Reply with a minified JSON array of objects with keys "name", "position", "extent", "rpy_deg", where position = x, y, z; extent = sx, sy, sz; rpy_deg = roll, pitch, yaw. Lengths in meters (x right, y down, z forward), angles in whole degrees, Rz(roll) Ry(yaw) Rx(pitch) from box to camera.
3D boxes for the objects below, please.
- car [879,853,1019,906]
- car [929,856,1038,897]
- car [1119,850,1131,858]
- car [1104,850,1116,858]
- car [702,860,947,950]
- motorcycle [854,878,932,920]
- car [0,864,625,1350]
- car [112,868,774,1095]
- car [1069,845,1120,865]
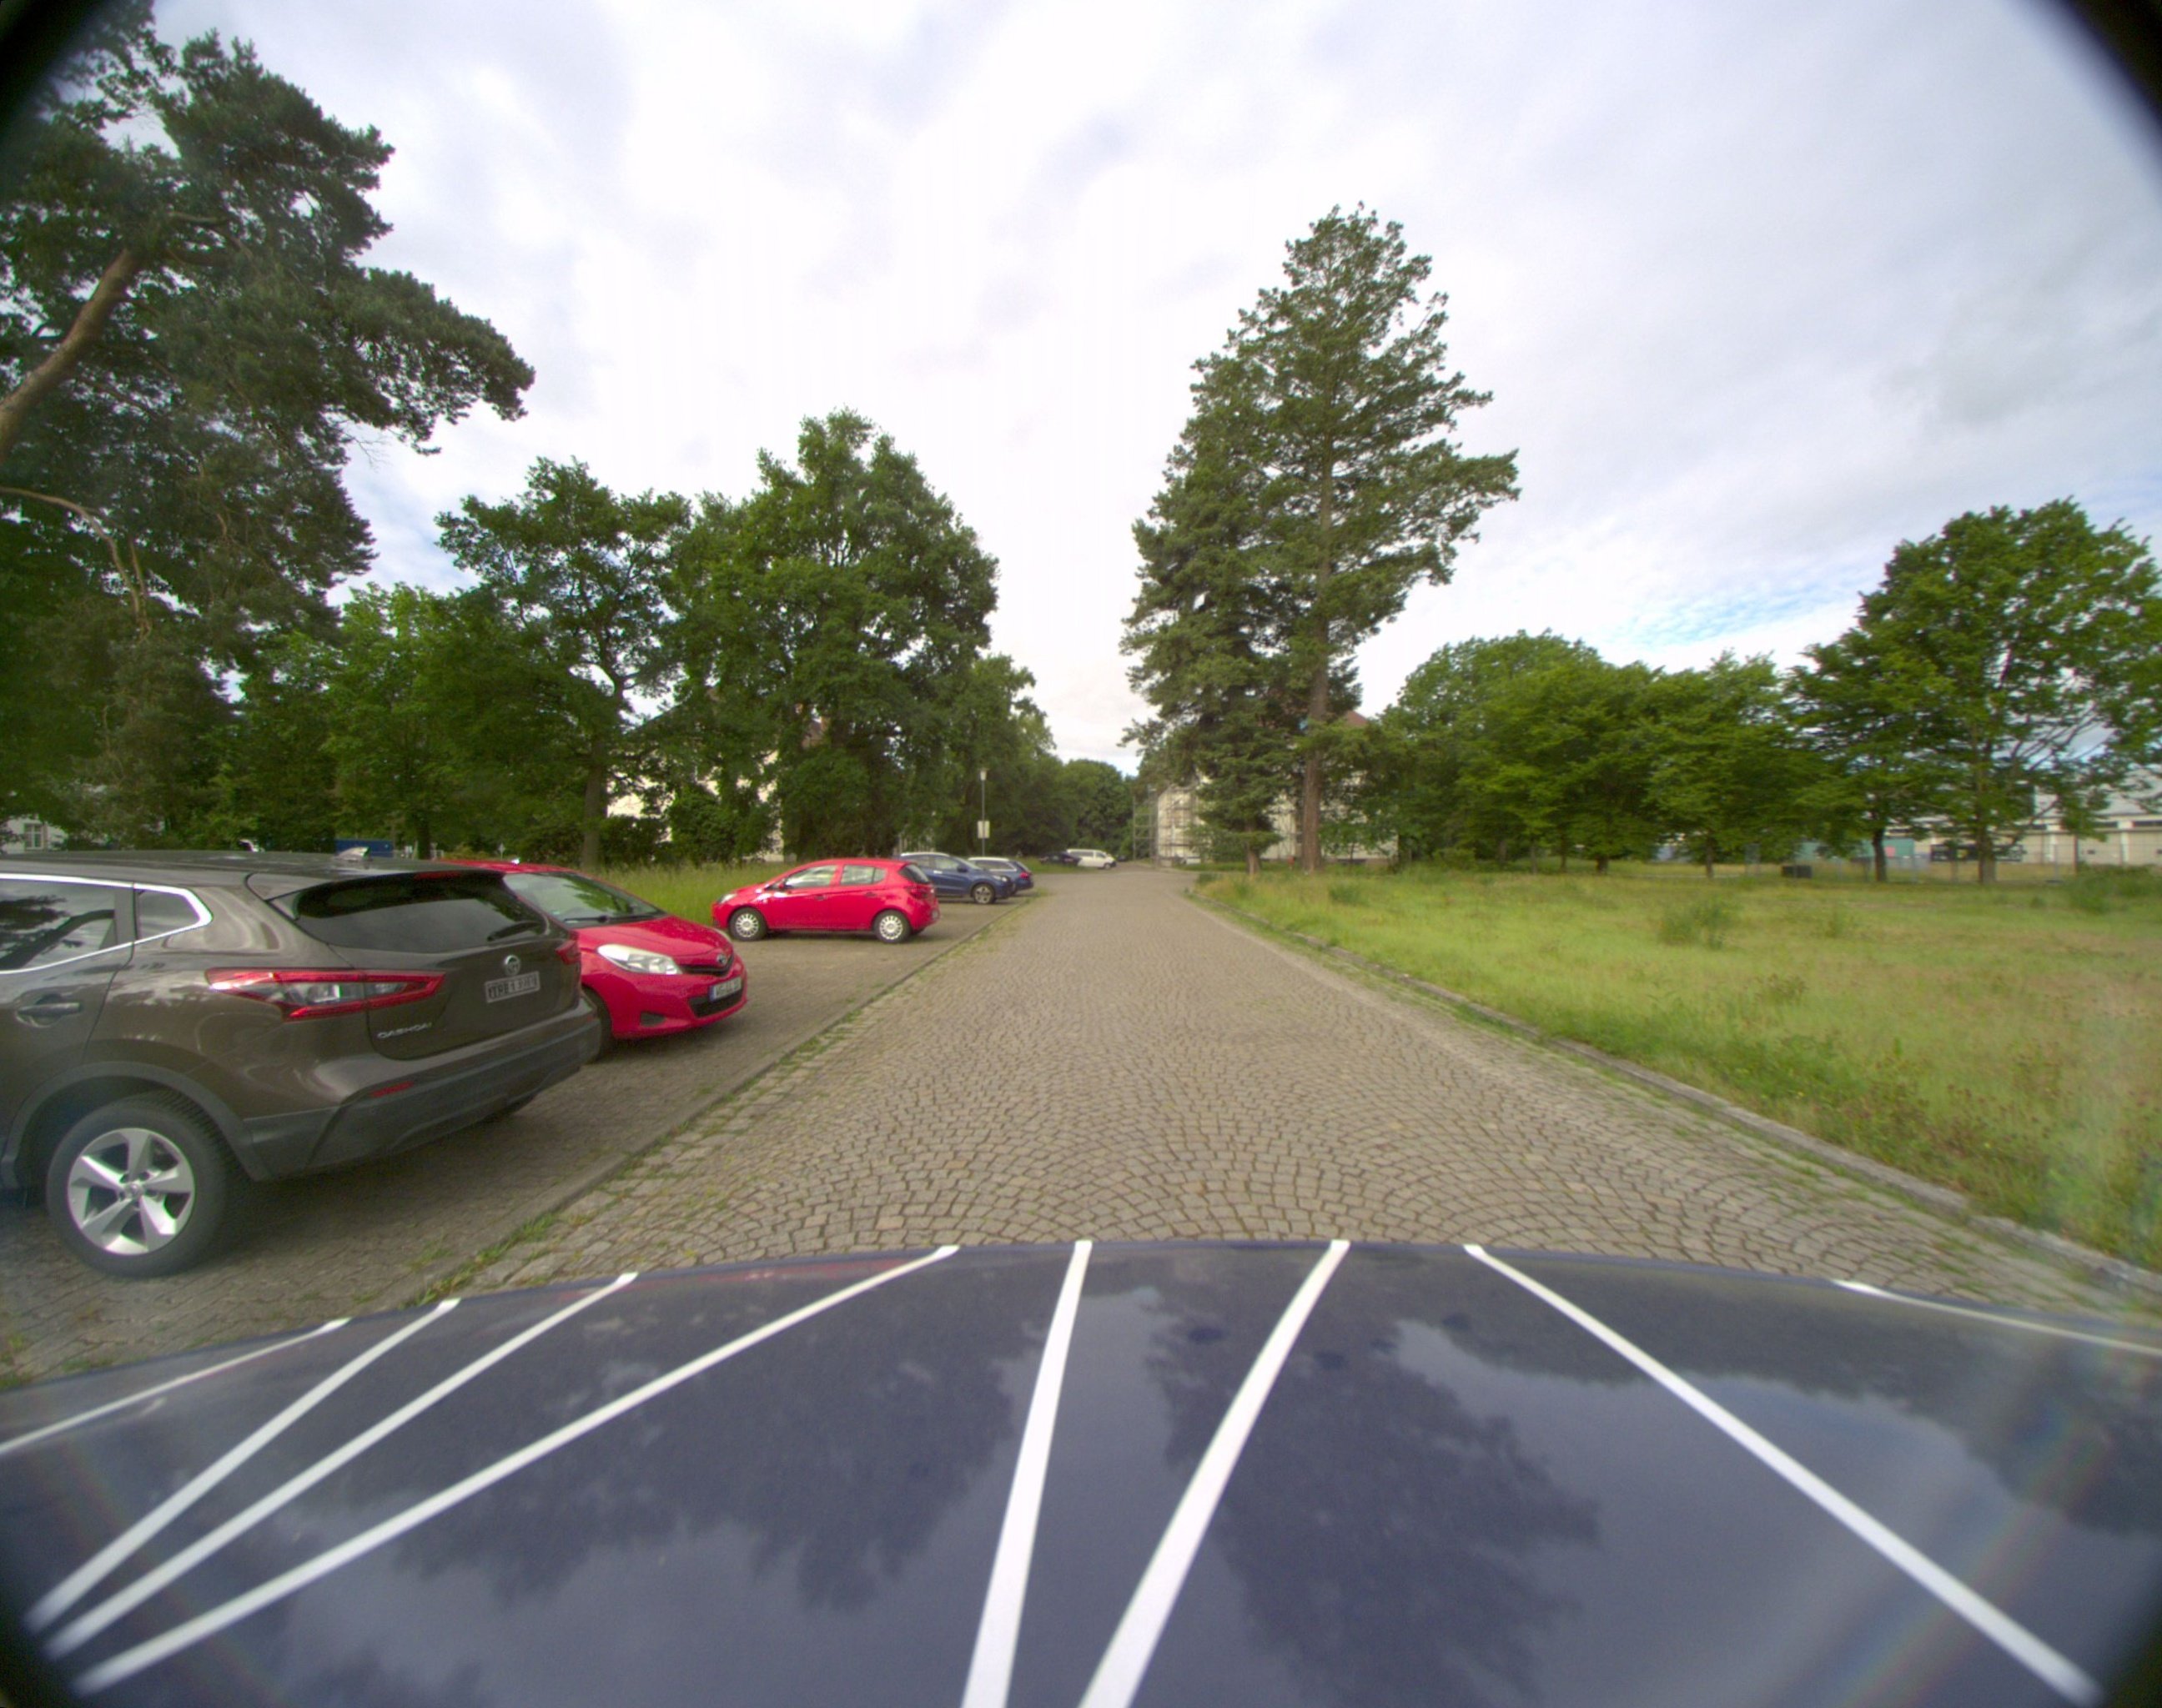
[{"name":"car","position":[-4.107,0.790,24.056],"extent":[4.150,1.529,1.582],"rpy_deg":[1,1,0]},{"name":"car","position":[-3.630,0.838,28.706],"extent":[3.877,1.417,1.582],"rpy_deg":[1,1,0]},{"name":"car","position":[8.343,-0.086,144.206],"extent":[1.870,1.408,4.694],"rpy_deg":[1,0,-3]},{"name":"car","position":[5.442,-0.031,143.735],"extent":[1.870,1.408,4.694],"rpy_deg":[1,0,-3]},{"name":"car","position":[-4.539,0.878,13.821],"extent":[3.894,1.451,1.582],"rpy_deg":[1,1,0]},{"name":"motorcycle","position":[-4.500,1.071,18.256],"extent":[1.745,0.951,0.614],"rpy_deg":[1,1,-5]},{"name":"car","position":[-4.824,0.887,3.547],"extent":[4.271,1.589,1.822],"rpy_deg":[1,1,0]},{"name":"car","position":[-4.920,0.911,6.278],"extent":[4.016,1.477,1.766],"rpy_deg":[1,1,2]},{"name":"car","position":[1.385,0.114,77.396],"extent":[5.140,1.860,1.723],"rpy_deg":[1,1,0]}]
